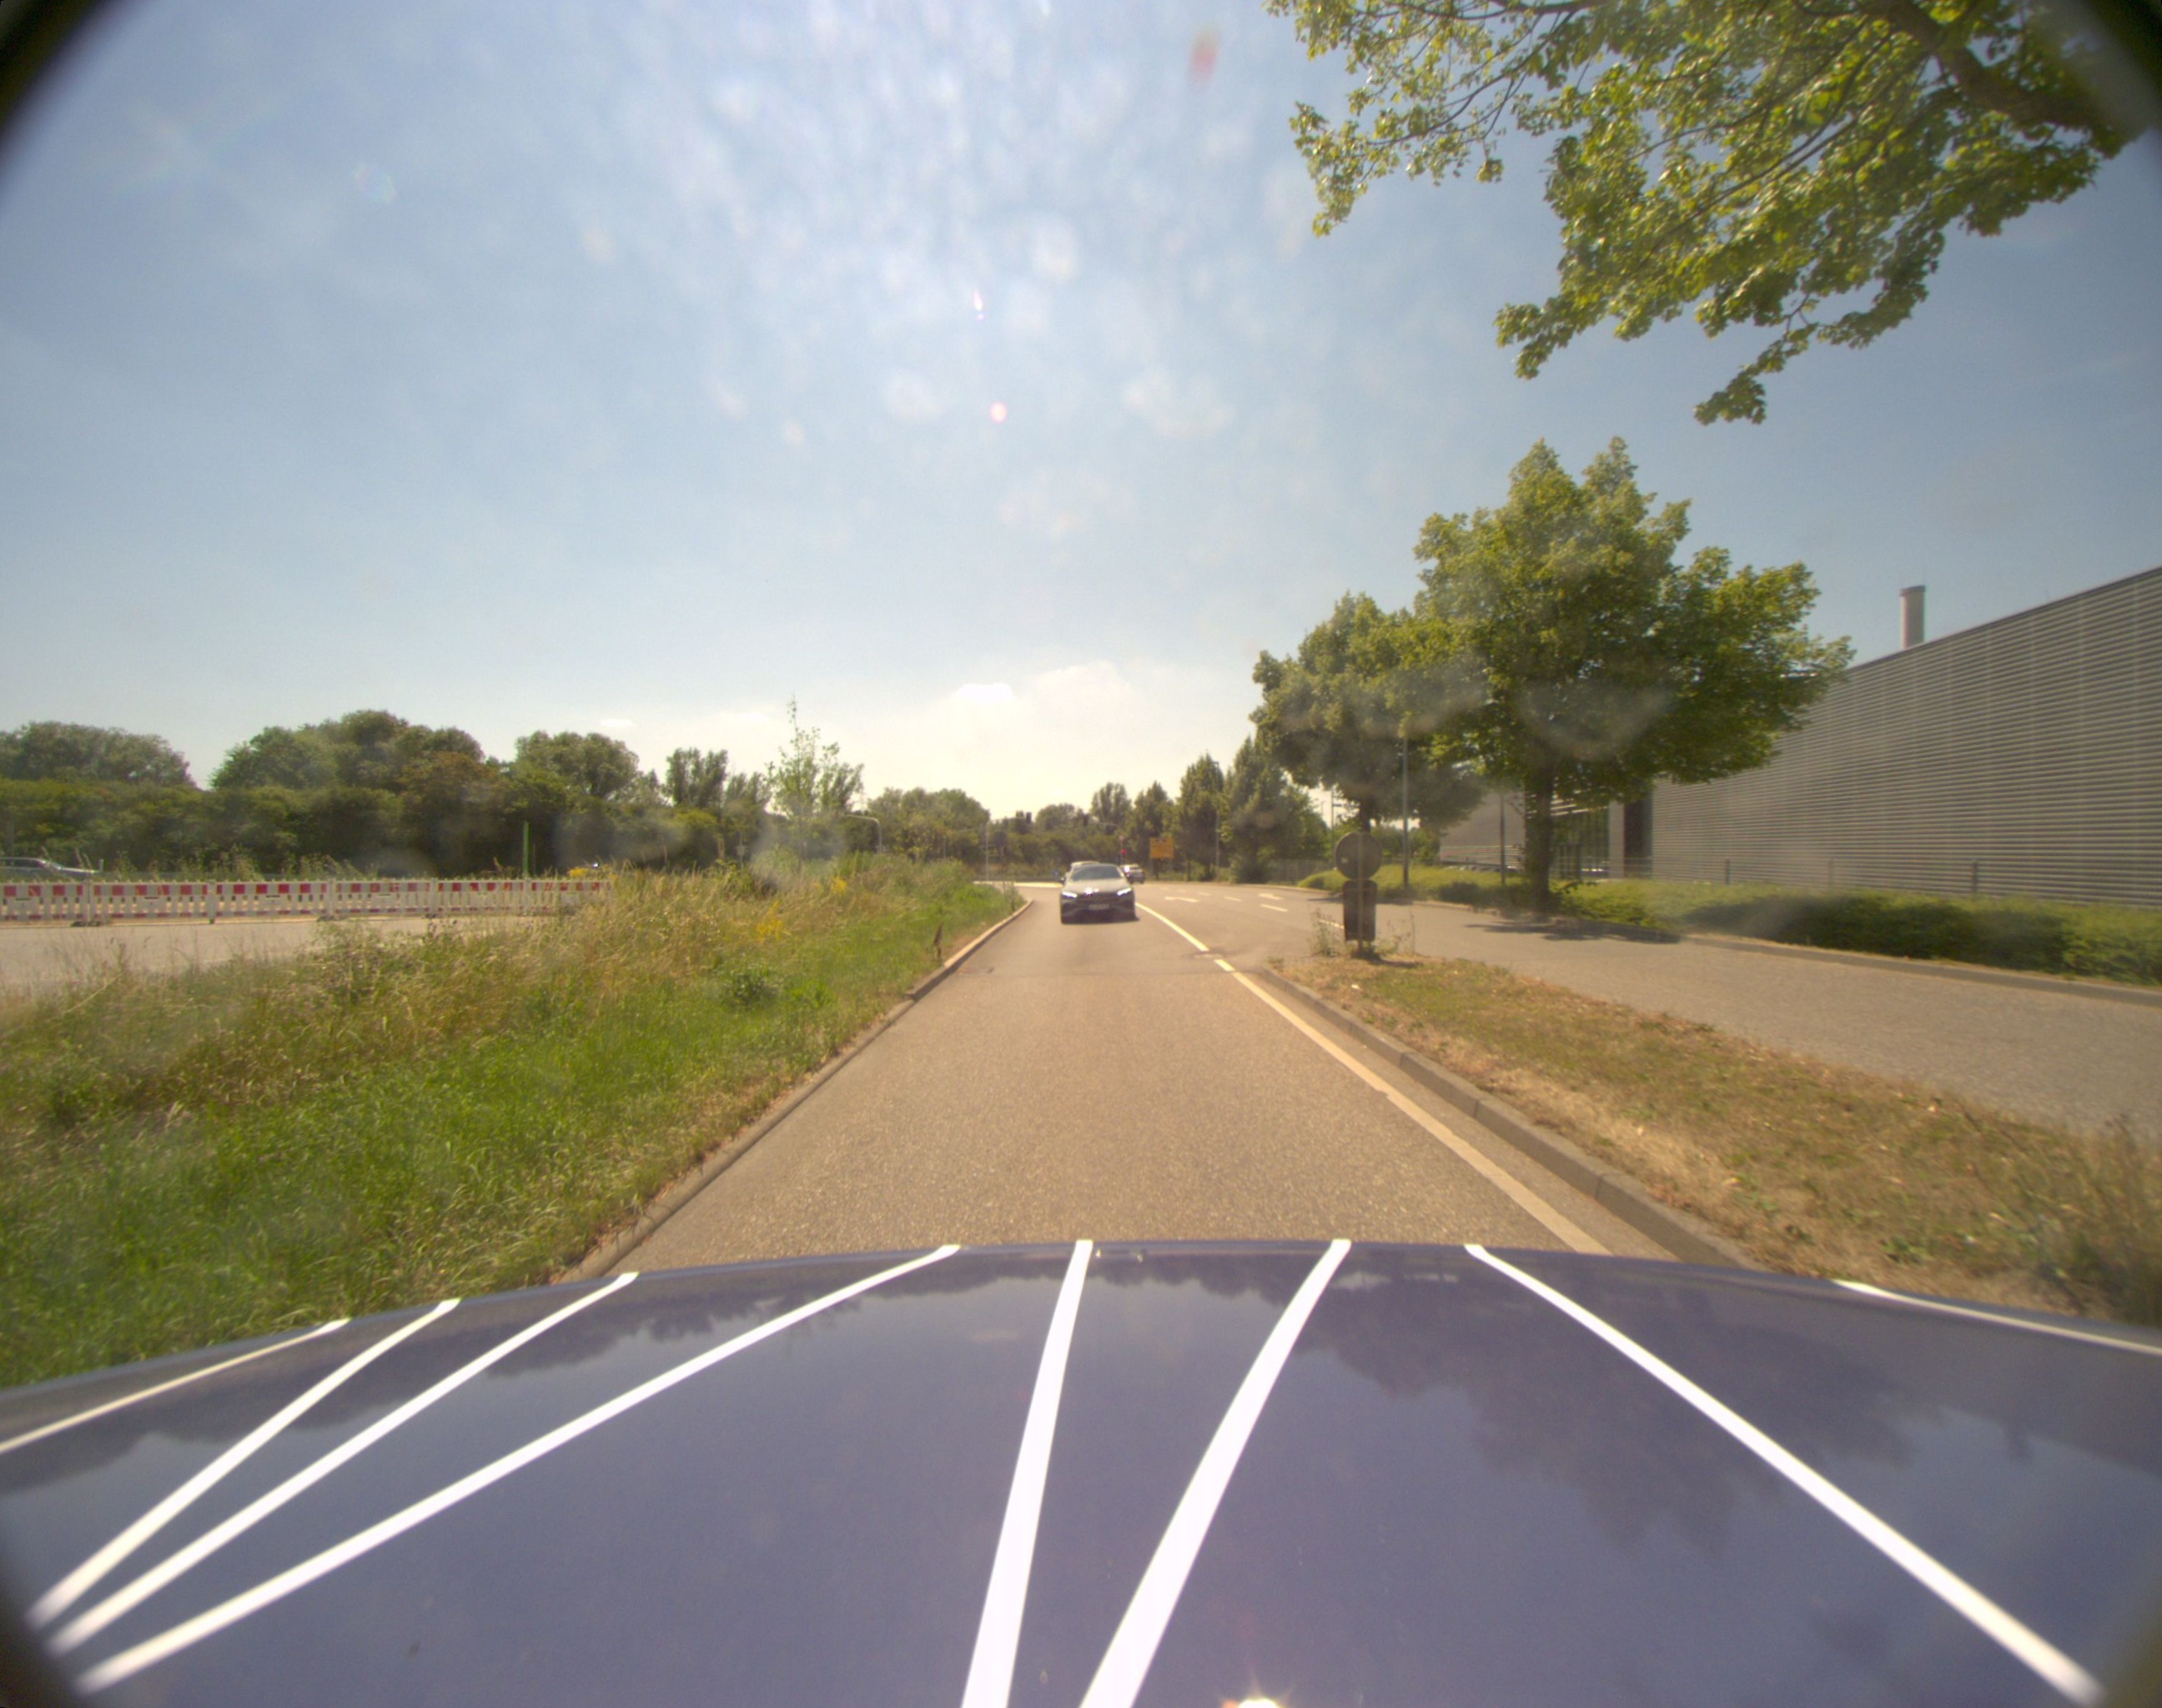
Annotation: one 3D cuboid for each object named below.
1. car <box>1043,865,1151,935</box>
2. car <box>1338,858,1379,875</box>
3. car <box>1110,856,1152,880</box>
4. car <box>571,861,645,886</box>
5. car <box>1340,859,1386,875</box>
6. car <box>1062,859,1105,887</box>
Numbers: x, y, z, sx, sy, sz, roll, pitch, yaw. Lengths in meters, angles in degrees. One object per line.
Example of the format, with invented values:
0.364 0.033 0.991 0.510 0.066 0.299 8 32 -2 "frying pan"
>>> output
0.546 1.056 19.154 1.920 1.433 4.486 -3 -1 11 "car"
30.344 1.396 83.284 3.993 1.695 2.003 1 -2 12 "car"
3.976 1.120 61.171 2.001 1.697 3.859 -4 1 -17 "car"
-32.732 1.362 52.618 4.010 1.629 1.777 3 -3 -43 "car"
27.721 1.286 74.891 3.993 1.476 2.003 1 -2 12 "car"
0.140 1.427 59.749 2.001 1.932 4.863 -4 1 -17 "car"
